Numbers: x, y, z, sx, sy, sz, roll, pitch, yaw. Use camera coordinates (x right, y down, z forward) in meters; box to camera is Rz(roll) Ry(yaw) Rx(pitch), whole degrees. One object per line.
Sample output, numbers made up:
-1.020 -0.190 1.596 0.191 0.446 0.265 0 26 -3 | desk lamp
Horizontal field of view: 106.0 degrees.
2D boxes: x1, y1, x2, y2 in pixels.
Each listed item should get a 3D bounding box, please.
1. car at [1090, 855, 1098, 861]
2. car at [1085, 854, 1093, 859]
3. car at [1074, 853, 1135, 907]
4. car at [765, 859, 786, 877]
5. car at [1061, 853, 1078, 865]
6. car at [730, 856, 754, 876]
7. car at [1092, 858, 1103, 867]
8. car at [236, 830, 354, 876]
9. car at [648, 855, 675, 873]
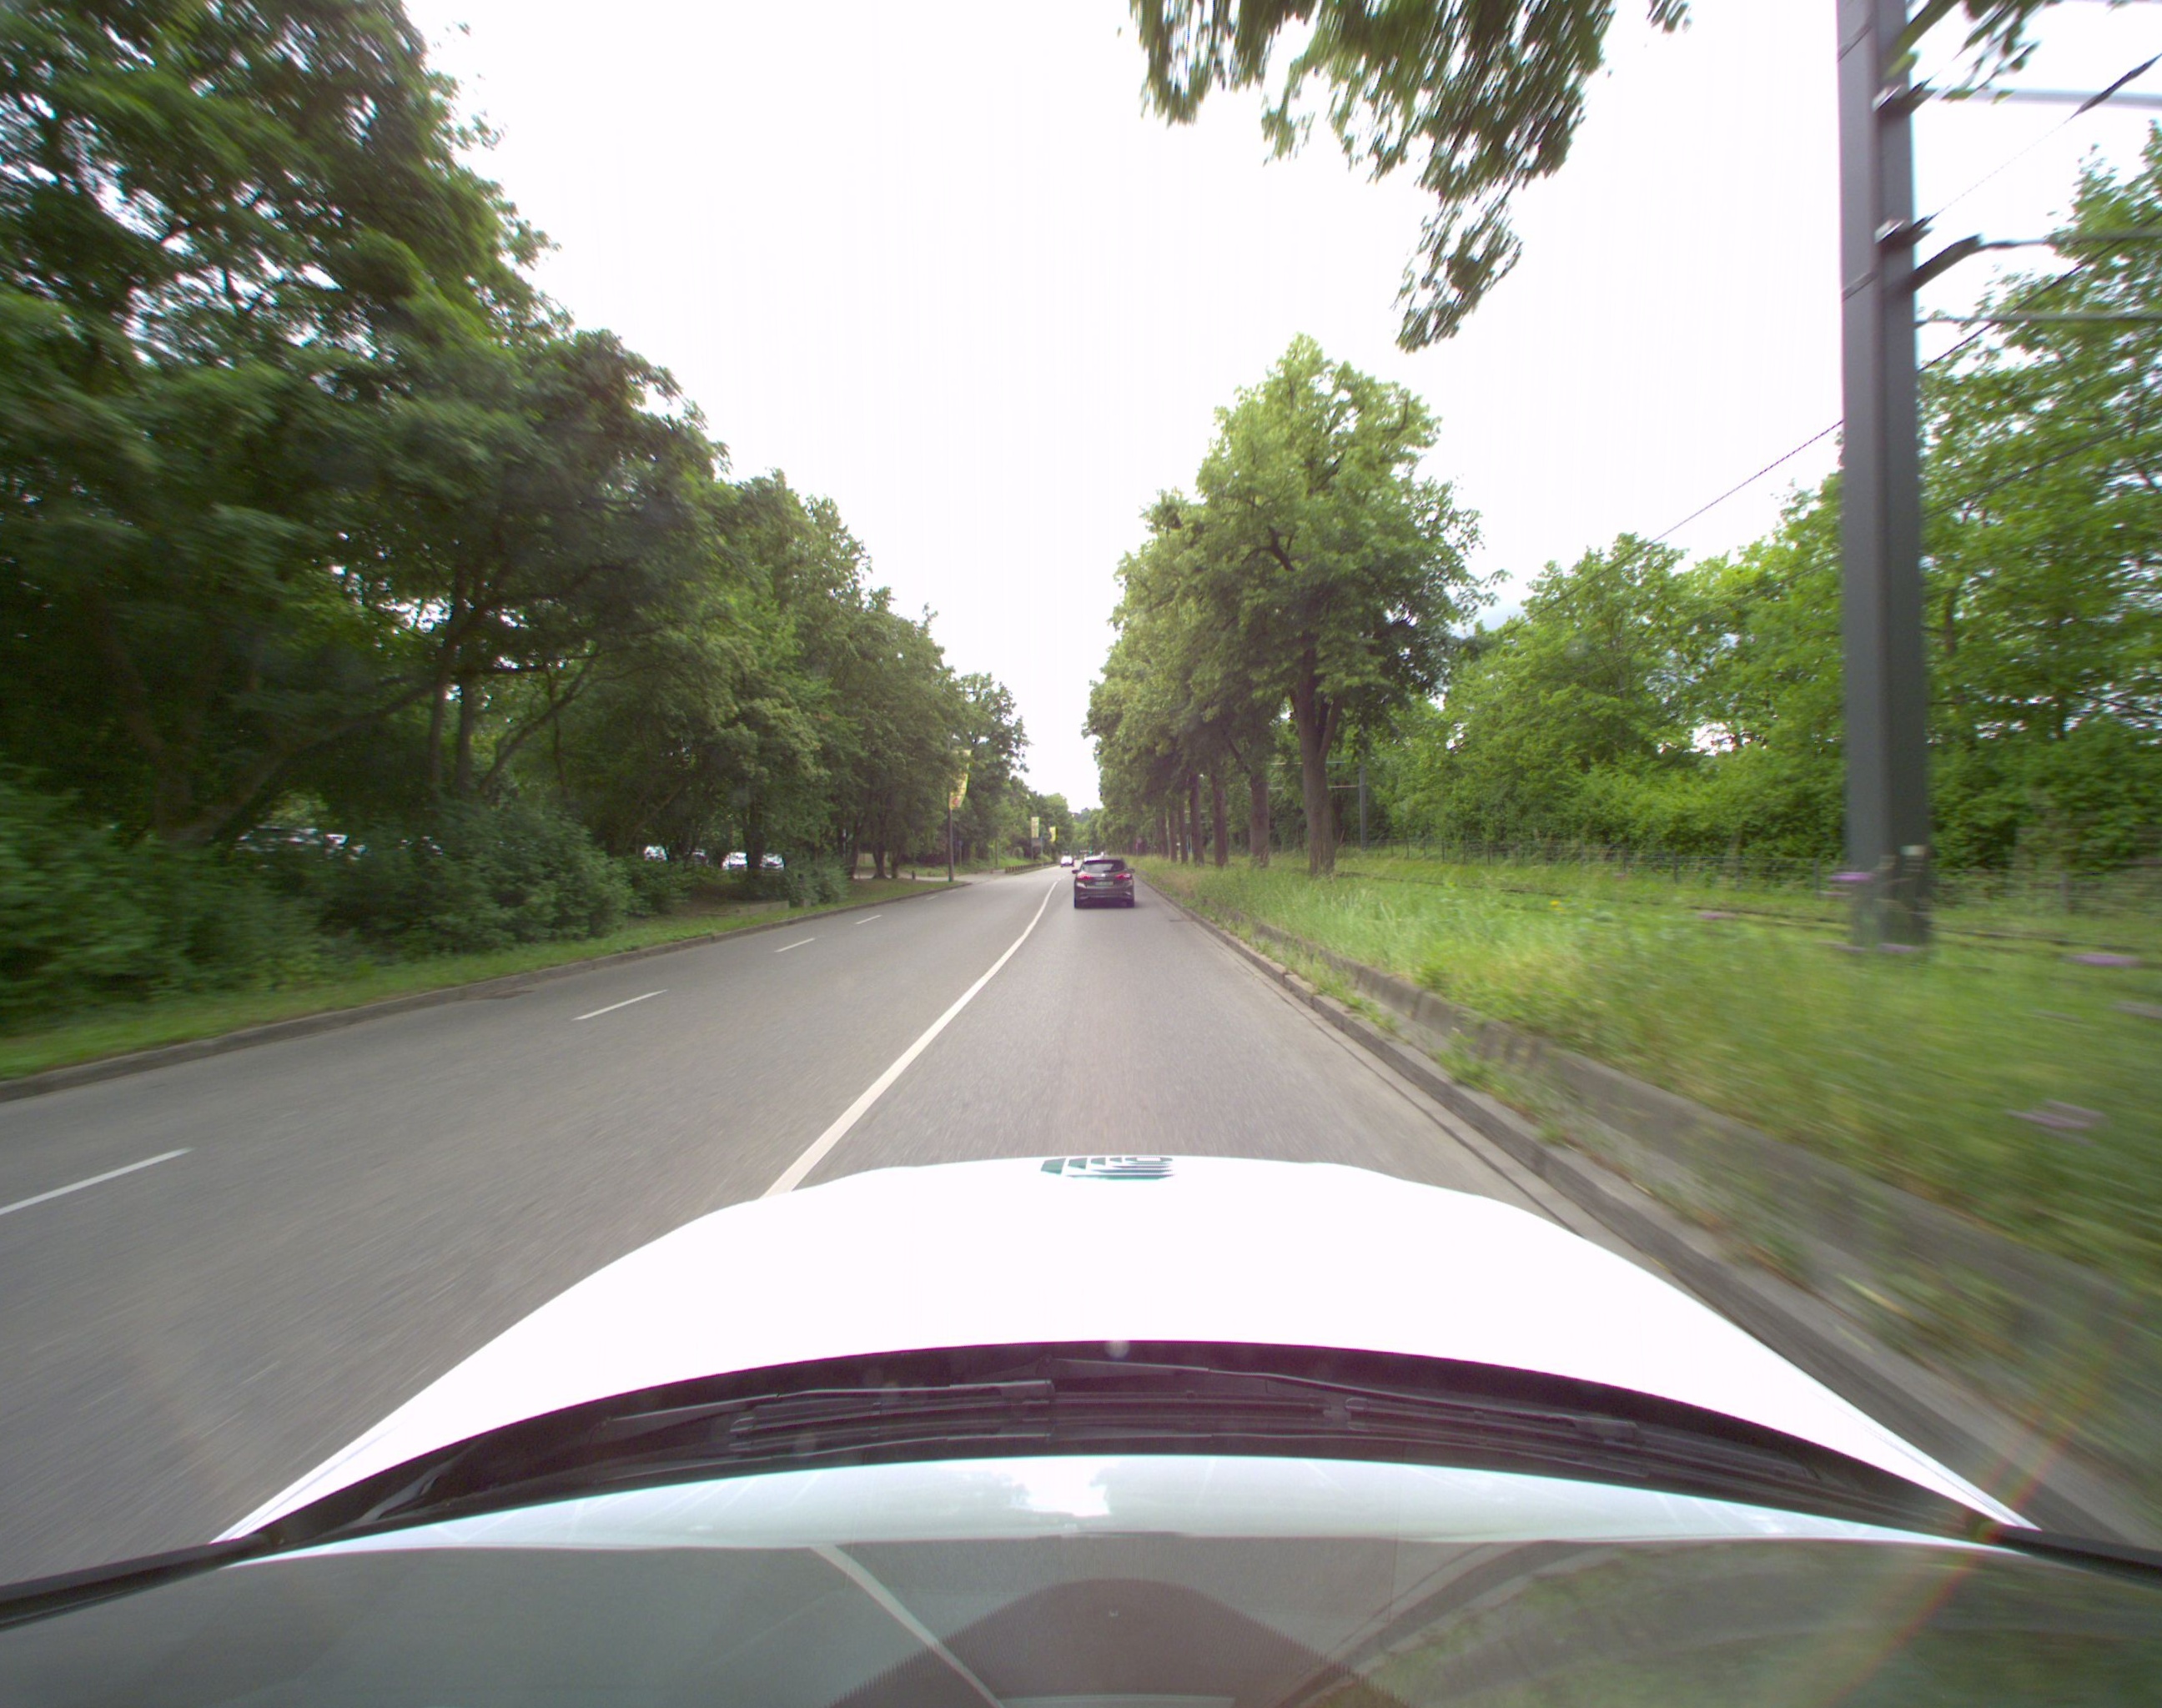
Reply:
3.392 0.960 210.688 1.561 1.441 3.541 0 0 -8 | car
2.325 0.682 238.972 1.562 1.441 3.538 0 0 -11 | car
0.695 0.743 24.876 1.724 1.537 3.552 0 0 1 | car
-22.382 1.021 59.779 1.375 1.238 3.050 2 -1 -20 | car
-1.483 0.663 107.991 1.708 1.428 4.203 -3 0 5 | car
-24.353 0.839 58.566 1.375 1.402 3.050 2 -1 -20 | car
2.653 1.344 130.823 1.555 1.441 3.554 0 0 3 | car
-27.735 -0.021 28.899 1.653 1.486 3.970 0 0 -22 | car
-29.113 0.675 56.526 1.267 1.212 3.050 2 -1 -20 | car
